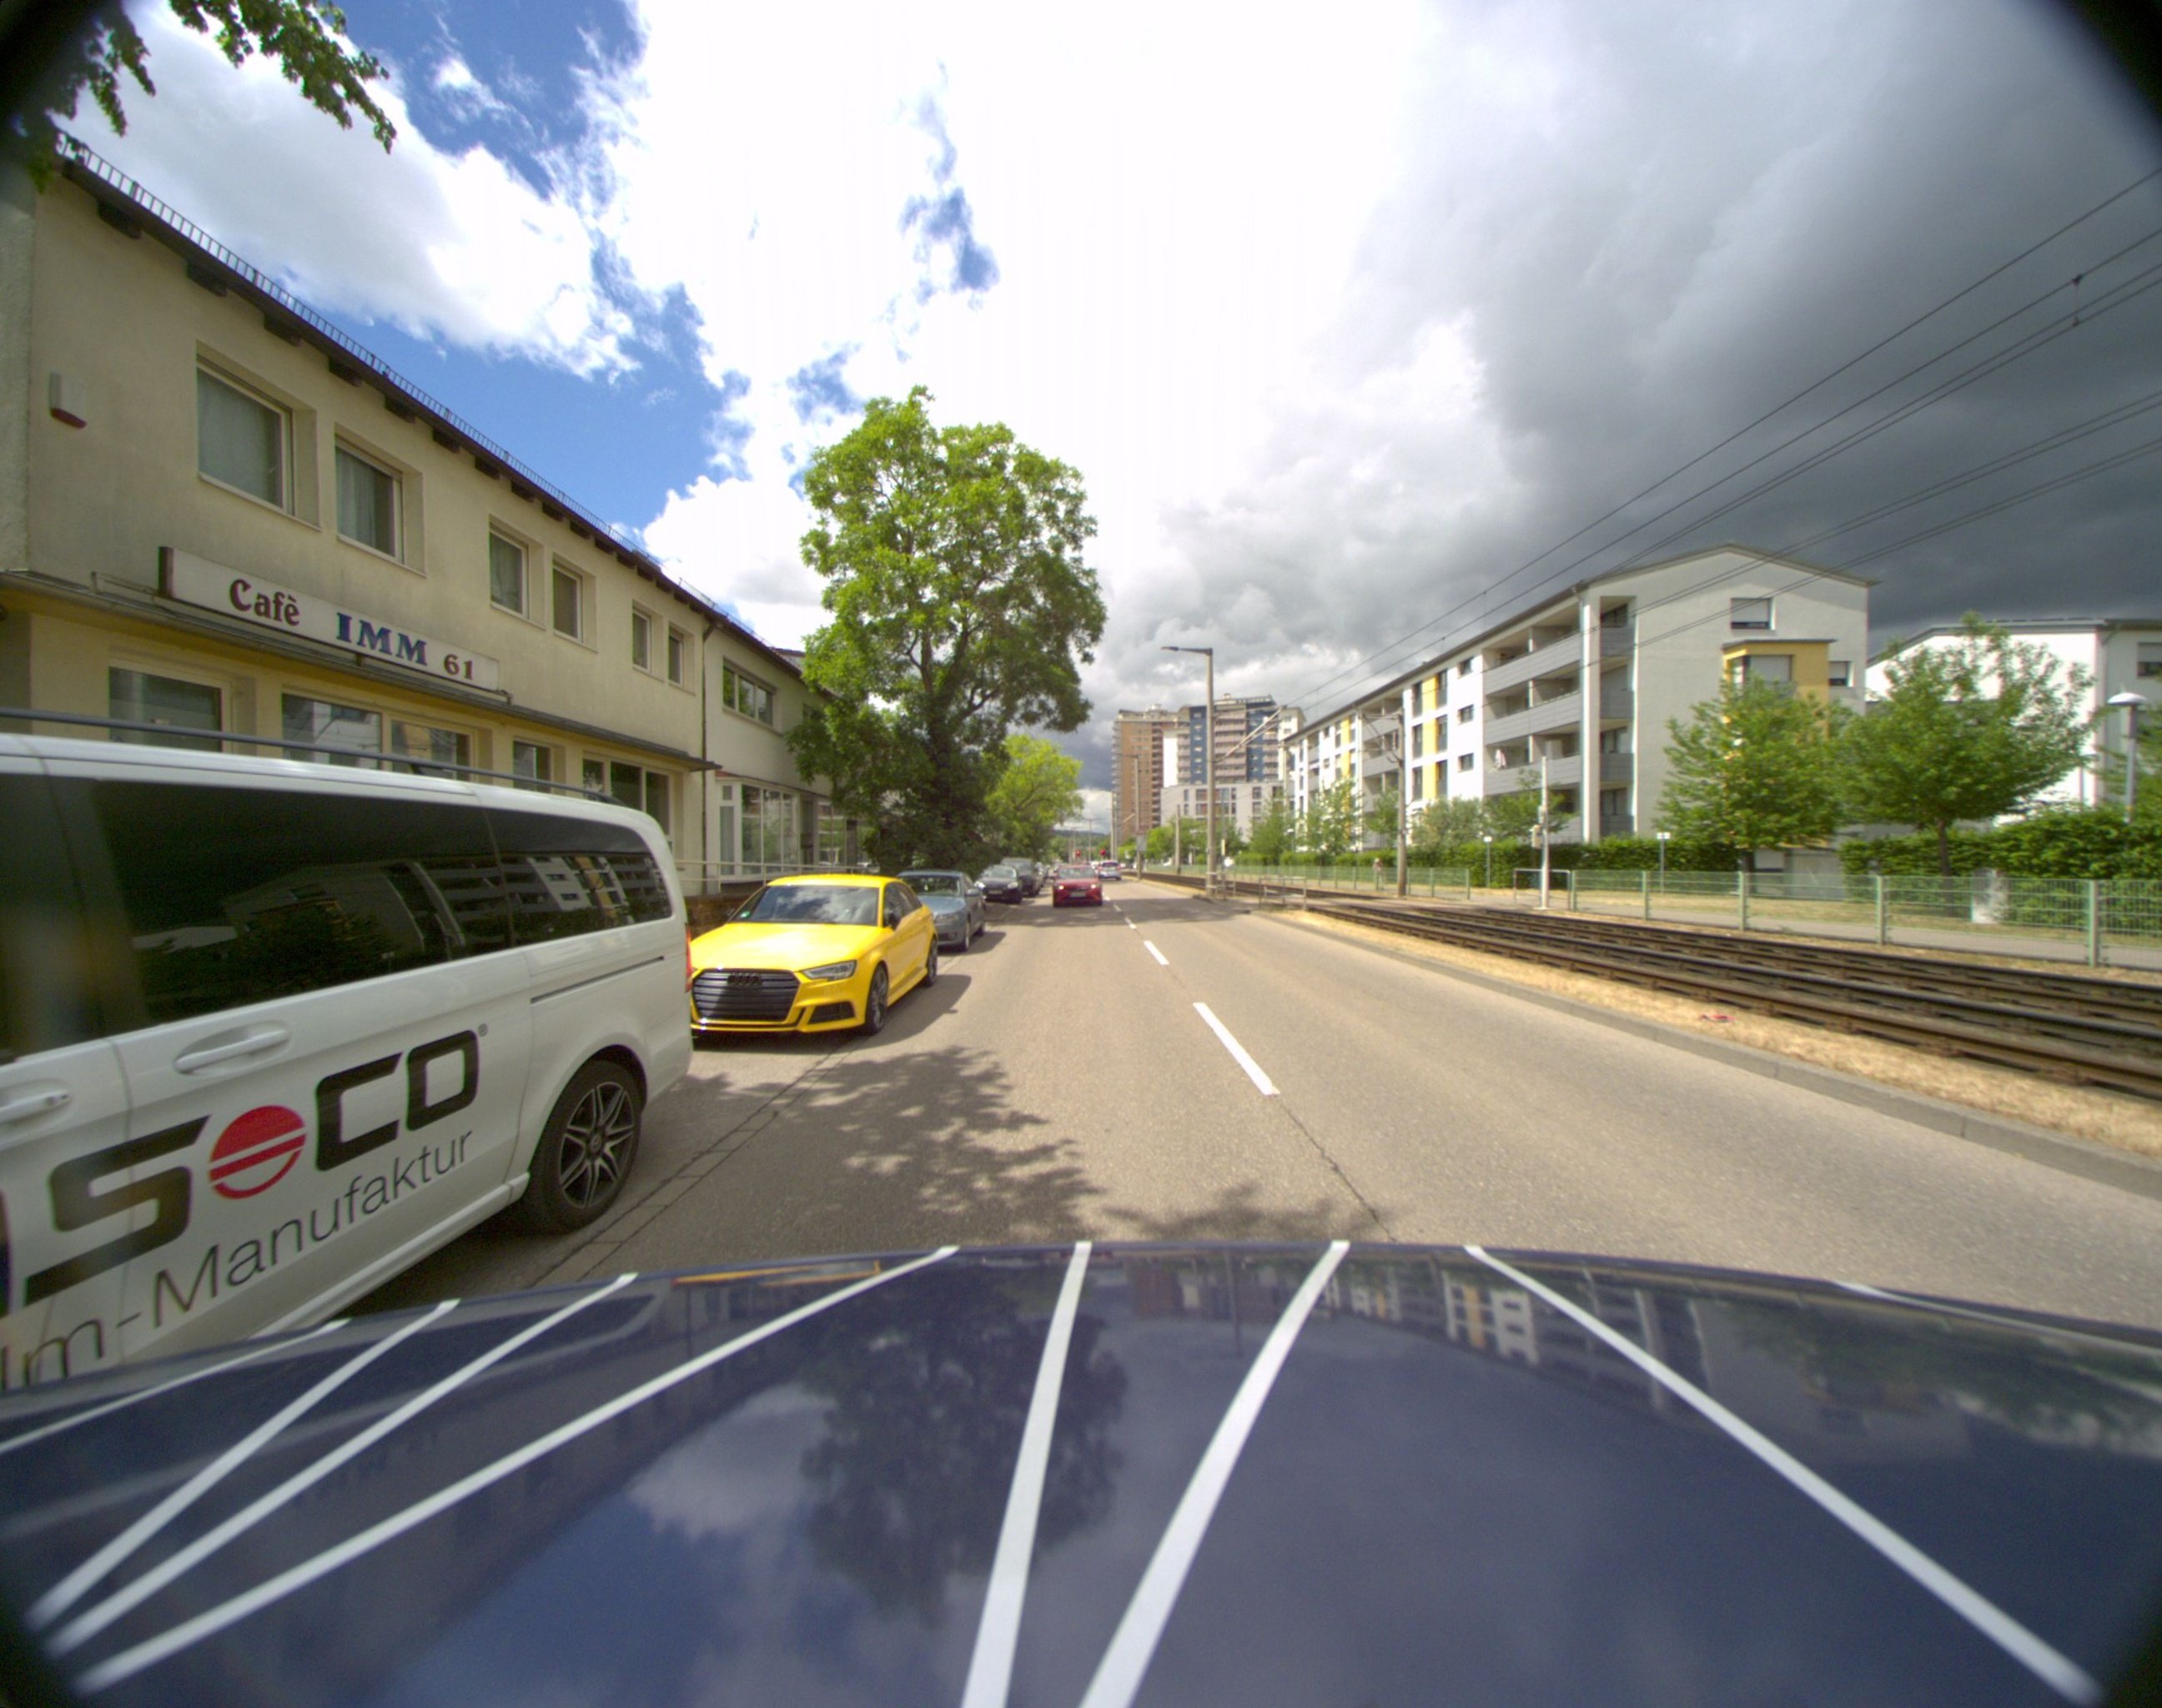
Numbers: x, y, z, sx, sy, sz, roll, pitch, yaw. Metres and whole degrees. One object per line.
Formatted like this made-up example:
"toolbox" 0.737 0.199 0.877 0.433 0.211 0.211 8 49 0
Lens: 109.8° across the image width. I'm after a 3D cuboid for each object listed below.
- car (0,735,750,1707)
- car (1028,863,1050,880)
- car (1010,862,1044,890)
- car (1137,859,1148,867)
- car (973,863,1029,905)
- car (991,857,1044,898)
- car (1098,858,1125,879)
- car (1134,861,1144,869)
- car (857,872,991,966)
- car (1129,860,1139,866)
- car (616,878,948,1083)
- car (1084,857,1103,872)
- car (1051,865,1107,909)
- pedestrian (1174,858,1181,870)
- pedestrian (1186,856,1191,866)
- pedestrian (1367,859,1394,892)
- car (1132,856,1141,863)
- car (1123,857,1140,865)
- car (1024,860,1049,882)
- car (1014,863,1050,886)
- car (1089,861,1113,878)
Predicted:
"car" -2.999 0.747 1.864 1.919 1.947 5.744 0 0 -1
"car" -3.624 1.492 66.664 1.729 1.417 4.446 -1 0 -1
"car" -2.982 1.210 42.525 1.776 1.434 3.898 2 0 -3
"car" 13.007 1.912 160.576 1.781 1.530 3.803 -1 0 -3
"car" -3.036 1.099 29.606 1.839 1.497 4.242 0 0 -2
"car" -2.886 1.032 35.606 2.020 1.778 5.076 0 0 0
"car" 2.401 1.142 61.419 1.822 1.604 4.601 -2 0 -1
"car" 12.685 2.410 167.175 1.781 1.530 3.803 -1 0 -3
"car" -2.809 1.104 14.578 1.760 1.434 4.493 0 0 -2
"car" 12.113 2.041 173.800 1.781 1.530 3.803 -1 0 -3
"car" -2.675 1.037 7.994 1.759 1.434 4.341 1 0 0
"car" 1.443 1.185 86.981 1.862 1.680 4.432 -1 0 -3
"car" -0.090 1.123 27.345 1.792 1.387 4.241 -2 0 -1
"pedestrian" 12.616 1.324 99.633 0.756 1.603 0.937 -1 0 -2
"pedestrian" 17.584 1.099 123.930 0.749 1.644 0.538 -1 0 -2
"pedestrian" 13.769 0.979 34.938 0.798 1.474 0.995 -1 0 -2
"car" 14.083 1.476 193.918 1.781 1.650 3.803 -1 0 -3
"car" 13.091 1.891 198.256 4.506 1.914 1.877 -1 0 -43
"car" -3.518 1.332 60.515 1.842 1.634 4.429 -1 0 -2
"car" -3.046 1.266 47.815 1.775 1.341 4.001 2 0 3
"car" 1.829 1.417 70.891 1.822 1.494 4.836 -2 0 -2
